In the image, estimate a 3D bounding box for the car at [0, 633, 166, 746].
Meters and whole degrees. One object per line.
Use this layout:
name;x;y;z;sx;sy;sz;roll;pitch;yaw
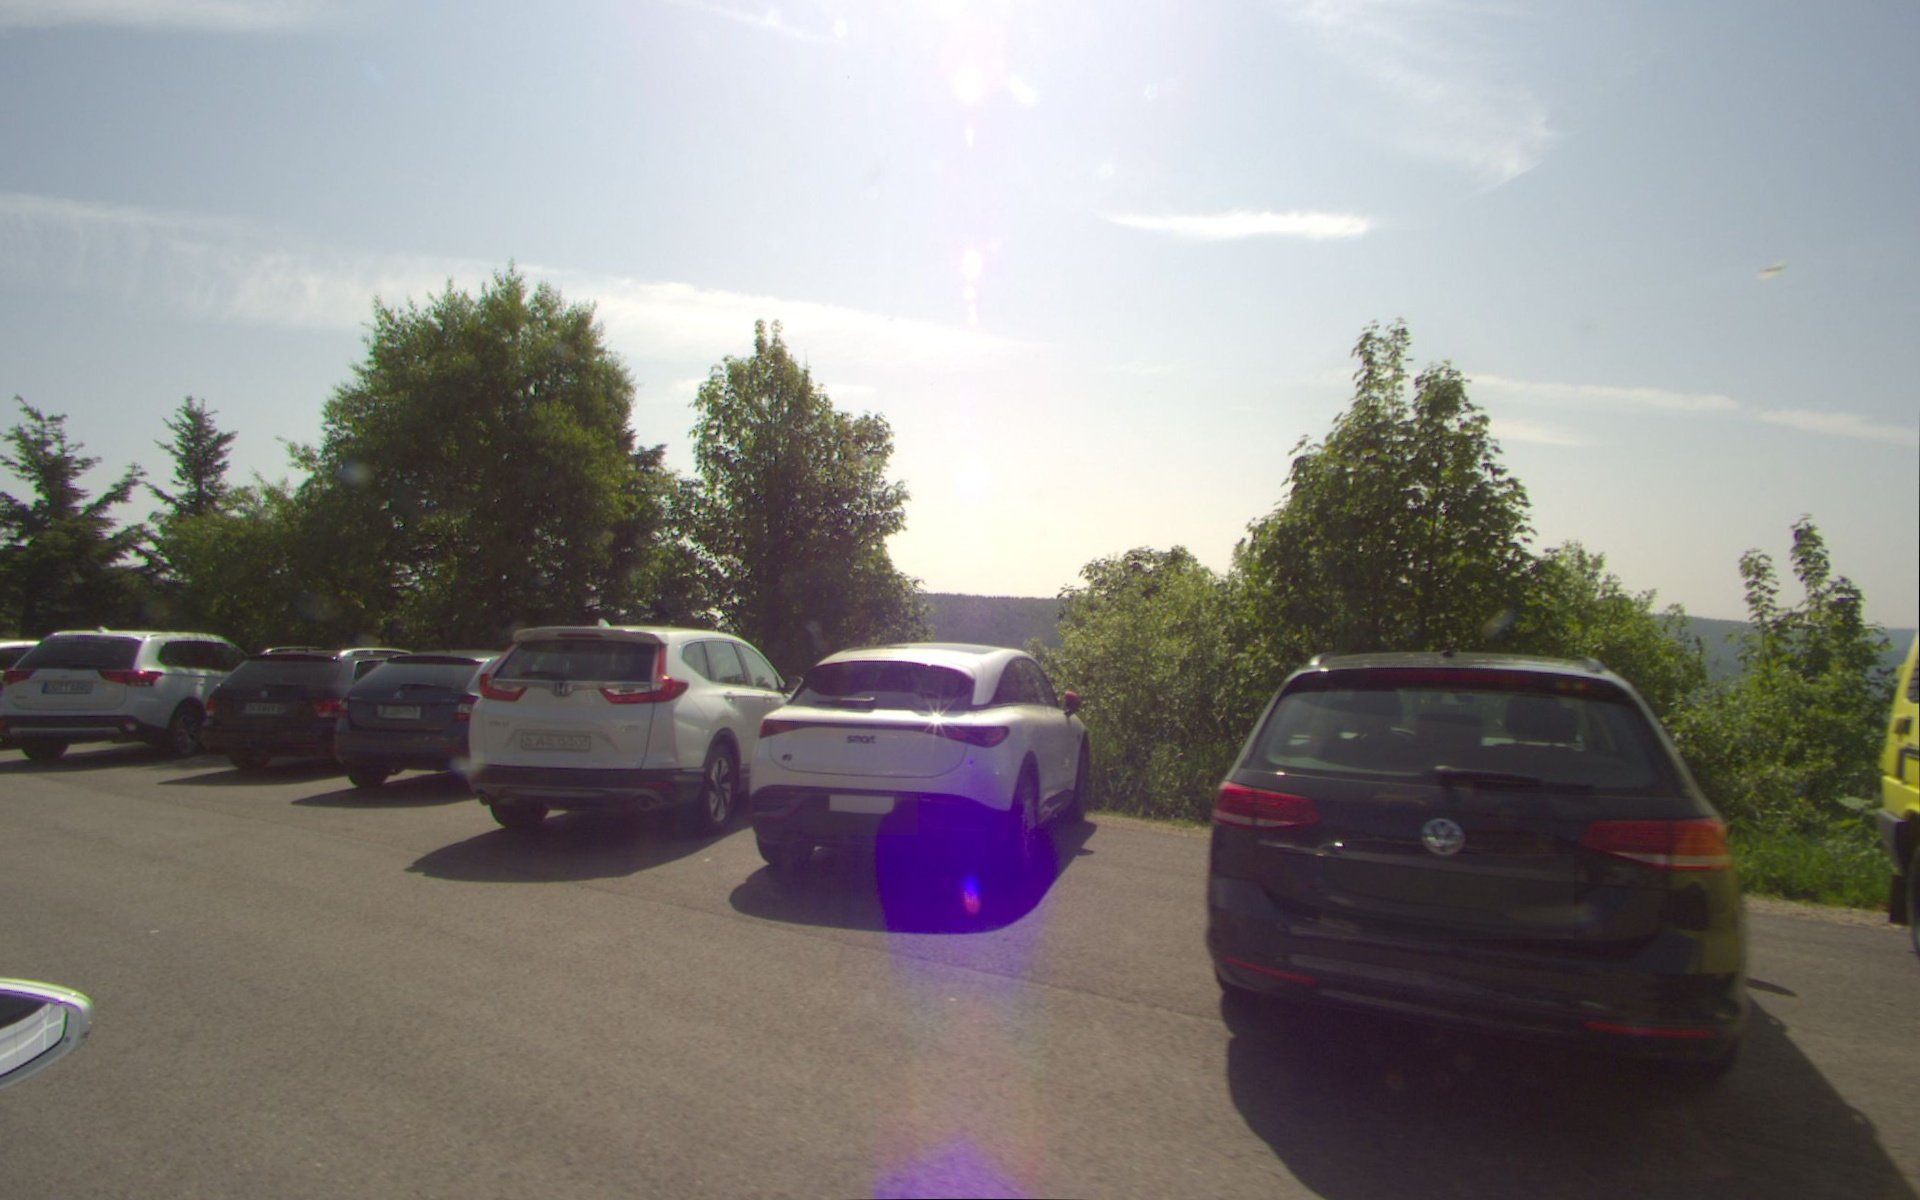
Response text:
car;-14.664;1.361;15.683;1.786;1.567;4.001;1;-4;-11

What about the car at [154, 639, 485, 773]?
car;-8.123;1.335;13.245;1.858;1.478;4.056;1;-4;-2

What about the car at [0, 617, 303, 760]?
car;-11.405;1.206;14.329;1.829;1.715;4.227;1;-3;-11

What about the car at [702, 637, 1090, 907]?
car;-0.159;1.084;7.874;1.908;1.519;4.098;0;-3;14

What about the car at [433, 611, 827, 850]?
car;-2.655;1.073;9.260;1.855;1.669;4.190;0;-4;6

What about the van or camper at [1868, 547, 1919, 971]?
van or camper;4.593;0.644;2.905;1.854;2.038;5.088;0;-4;30

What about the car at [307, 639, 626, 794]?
car;-5.487;1.276;11.734;1.630;1.476;3.811;1;-4;3

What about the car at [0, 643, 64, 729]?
car;-17.426;1.418;16.501;1.733;1.493;4.005;1;-4;-2

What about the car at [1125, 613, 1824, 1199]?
car;2.339;0.958;4.837;1.784;1.505;4.353;0;-4;27
